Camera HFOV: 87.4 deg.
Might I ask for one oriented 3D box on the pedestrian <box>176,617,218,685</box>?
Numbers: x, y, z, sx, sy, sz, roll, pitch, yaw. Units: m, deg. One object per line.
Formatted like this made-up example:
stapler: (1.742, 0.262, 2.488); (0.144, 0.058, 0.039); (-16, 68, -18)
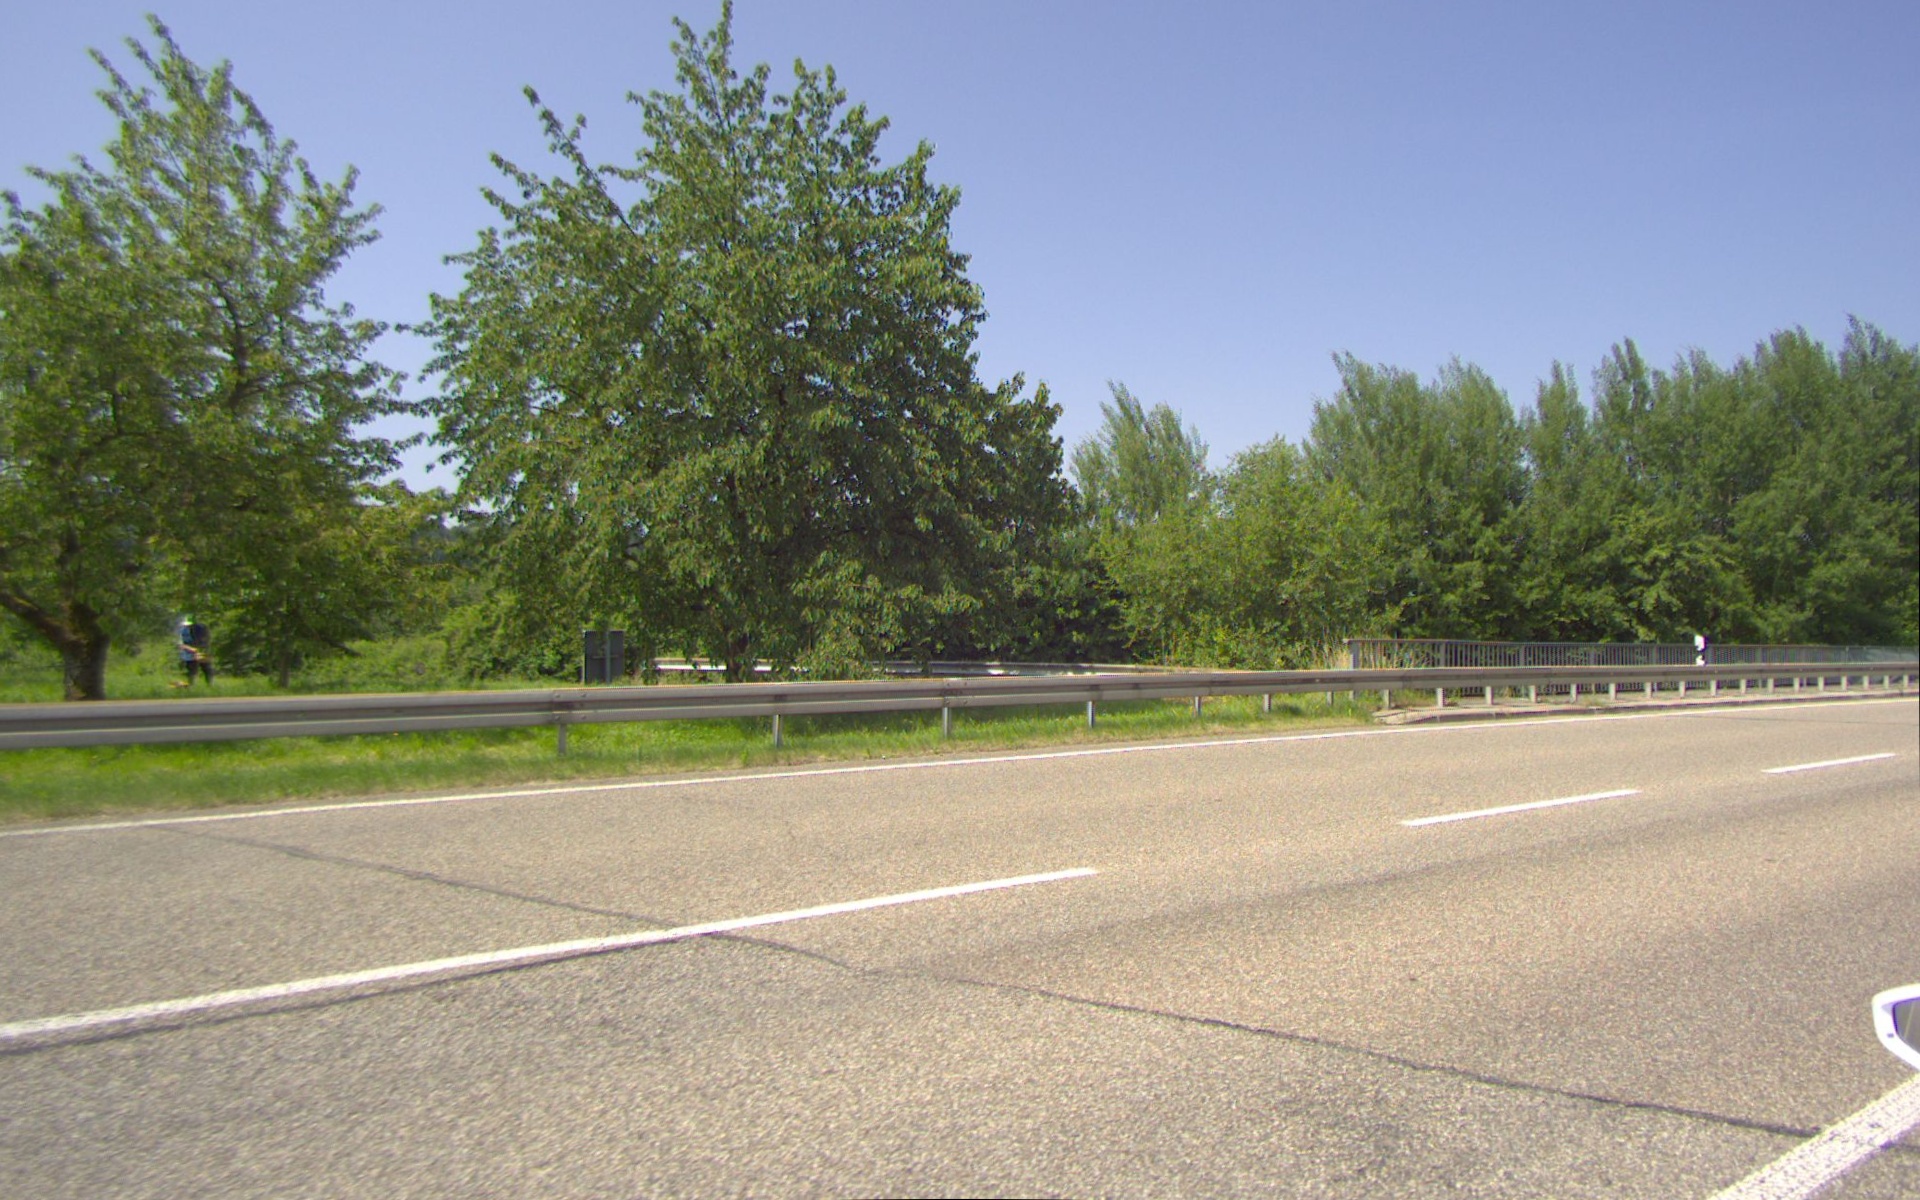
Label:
pedestrian: (-14.999, 0.995, 19.752); (0.549, 1.314, 0.571); (1, -1, -29)
